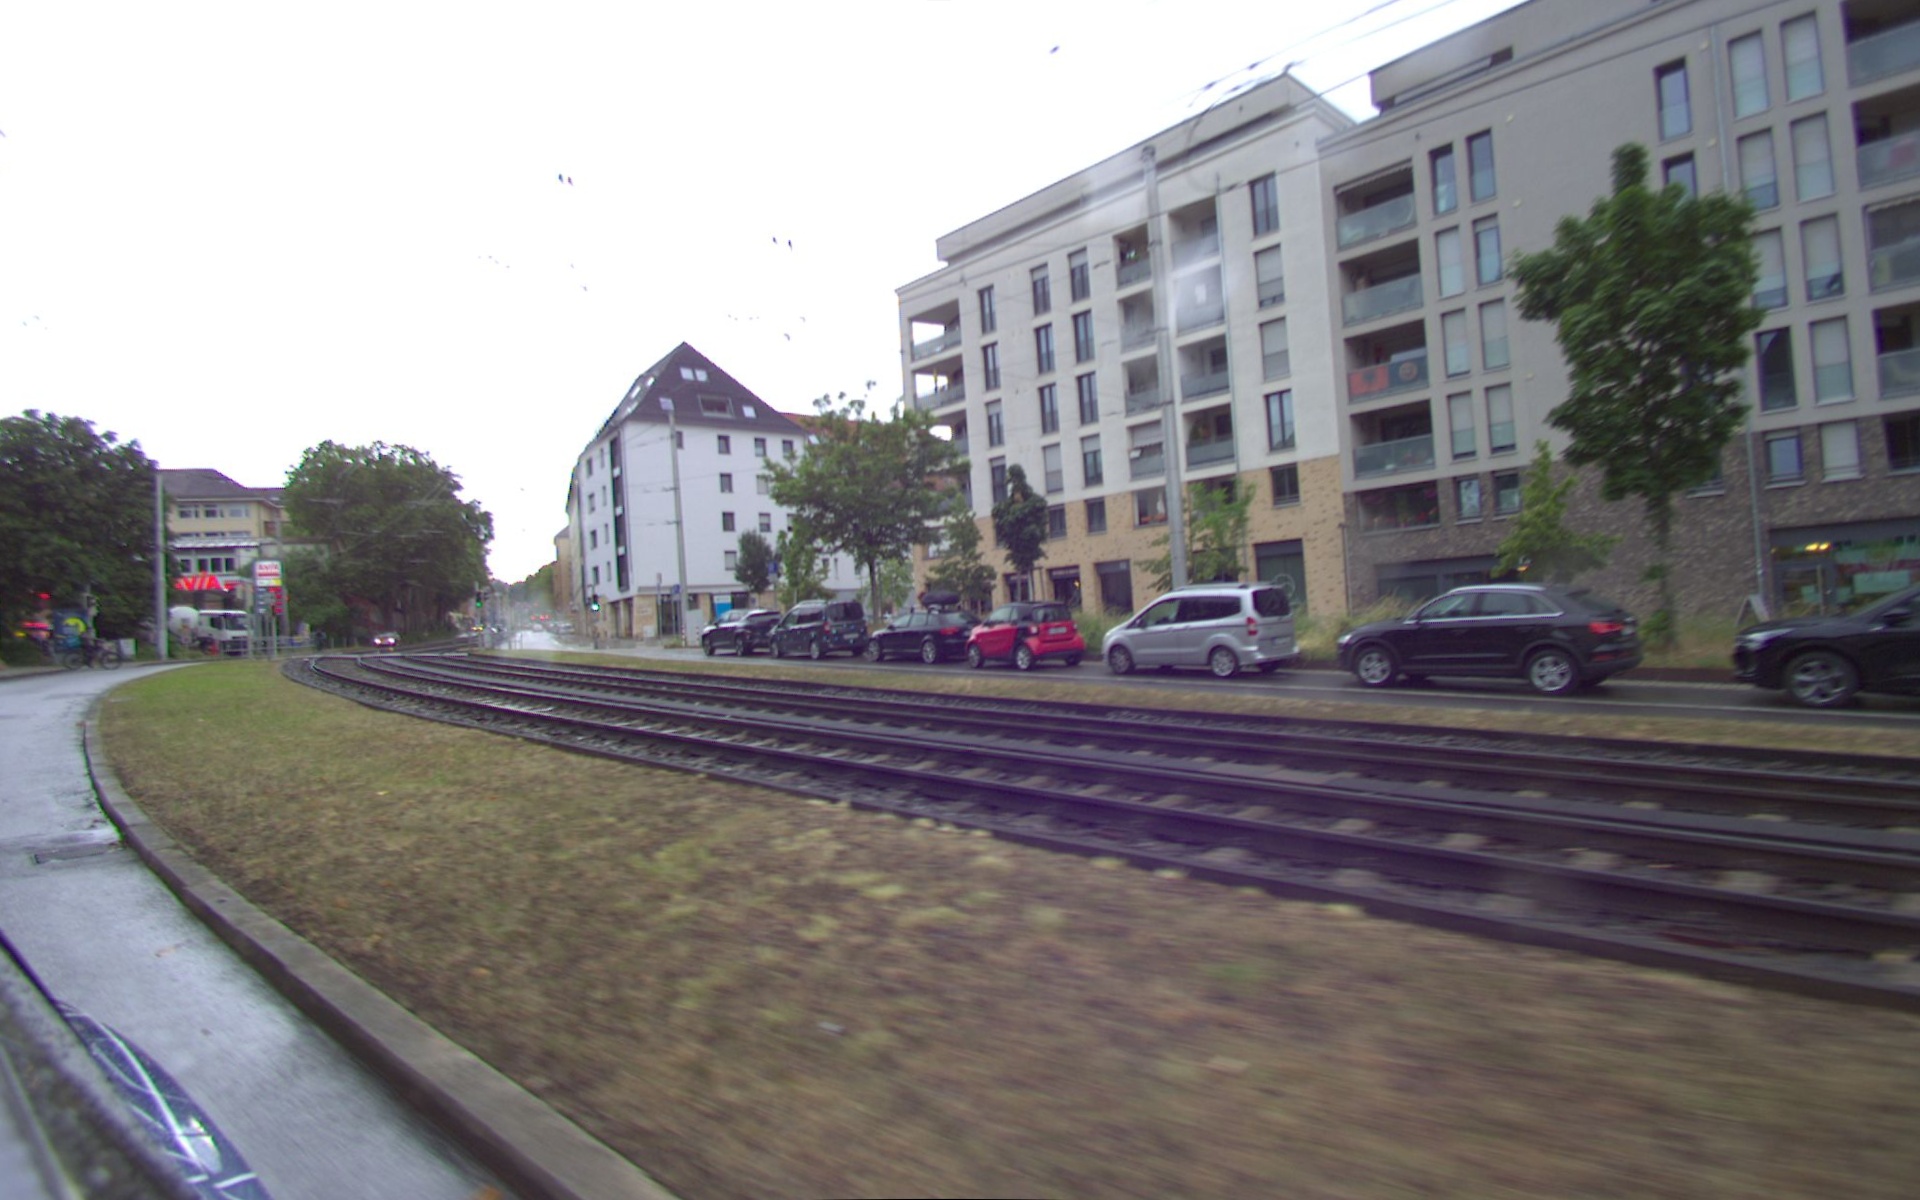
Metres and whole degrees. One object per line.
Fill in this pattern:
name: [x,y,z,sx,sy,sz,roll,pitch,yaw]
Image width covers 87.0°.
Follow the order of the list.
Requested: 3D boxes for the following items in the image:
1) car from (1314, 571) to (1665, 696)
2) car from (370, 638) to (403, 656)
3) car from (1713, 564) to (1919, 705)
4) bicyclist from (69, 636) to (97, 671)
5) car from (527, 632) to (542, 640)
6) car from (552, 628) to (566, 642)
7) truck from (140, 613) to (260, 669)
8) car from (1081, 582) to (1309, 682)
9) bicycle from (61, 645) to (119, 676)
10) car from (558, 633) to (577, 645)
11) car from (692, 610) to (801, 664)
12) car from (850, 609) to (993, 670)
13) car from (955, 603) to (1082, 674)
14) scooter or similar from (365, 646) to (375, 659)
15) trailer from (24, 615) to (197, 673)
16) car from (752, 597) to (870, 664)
car: [8.133,0.499,15.905,1.711,1.657,4.537,-2,0,-42]
car: [-51.224,4.190,90.433,1.858,1.502,3.861,-1,-1,-18]
car: [11.879,0.356,11.823,1.782,1.595,4.702,-2,0,-44]
bicyclist: [-34.738,2.113,40.100,0.788,1.304,0.595,-1,0,-44]
car: [-81.394,6.900,193.388,1.664,1.548,5.030,-1,-1,-34]
car: [-57.761,5.048,145.729,1.700,1.975,4.313,-2,-1,-23]
truck: [-50.025,2.659,66.713,6.051,3.425,2.831,-2,-1,7]
car: [4.601,0.623,20.315,1.643,1.761,4.263,-2,0,-41]
bicycle: [-34.470,2.384,40.100,1.686,1.149,0.626,-2,-1,-43]
car: [-52.660,5.187,135.666,1.996,1.554,4.013,-2,-1,-25]
car: [-7.544,1.266,35.472,1.969,1.616,4.223,-5,2,-38]
car: [-1.129,1.062,27.635,1.531,1.458,4.408,-3,0,-39]
car: [1.327,0.887,23.939,1.450,1.542,2.938,-2,-1,-35]
scooter or similar: [-59.436,5.259,101.985,0.394,1.201,1.365,-2,2,-8]
trailer: [-56.457,2.885,67.369,9.713,3.421,2.809,-2,-1,6]
car: [-4.714,0.946,31.621,1.561,1.873,4.341,-4,1,-39]
